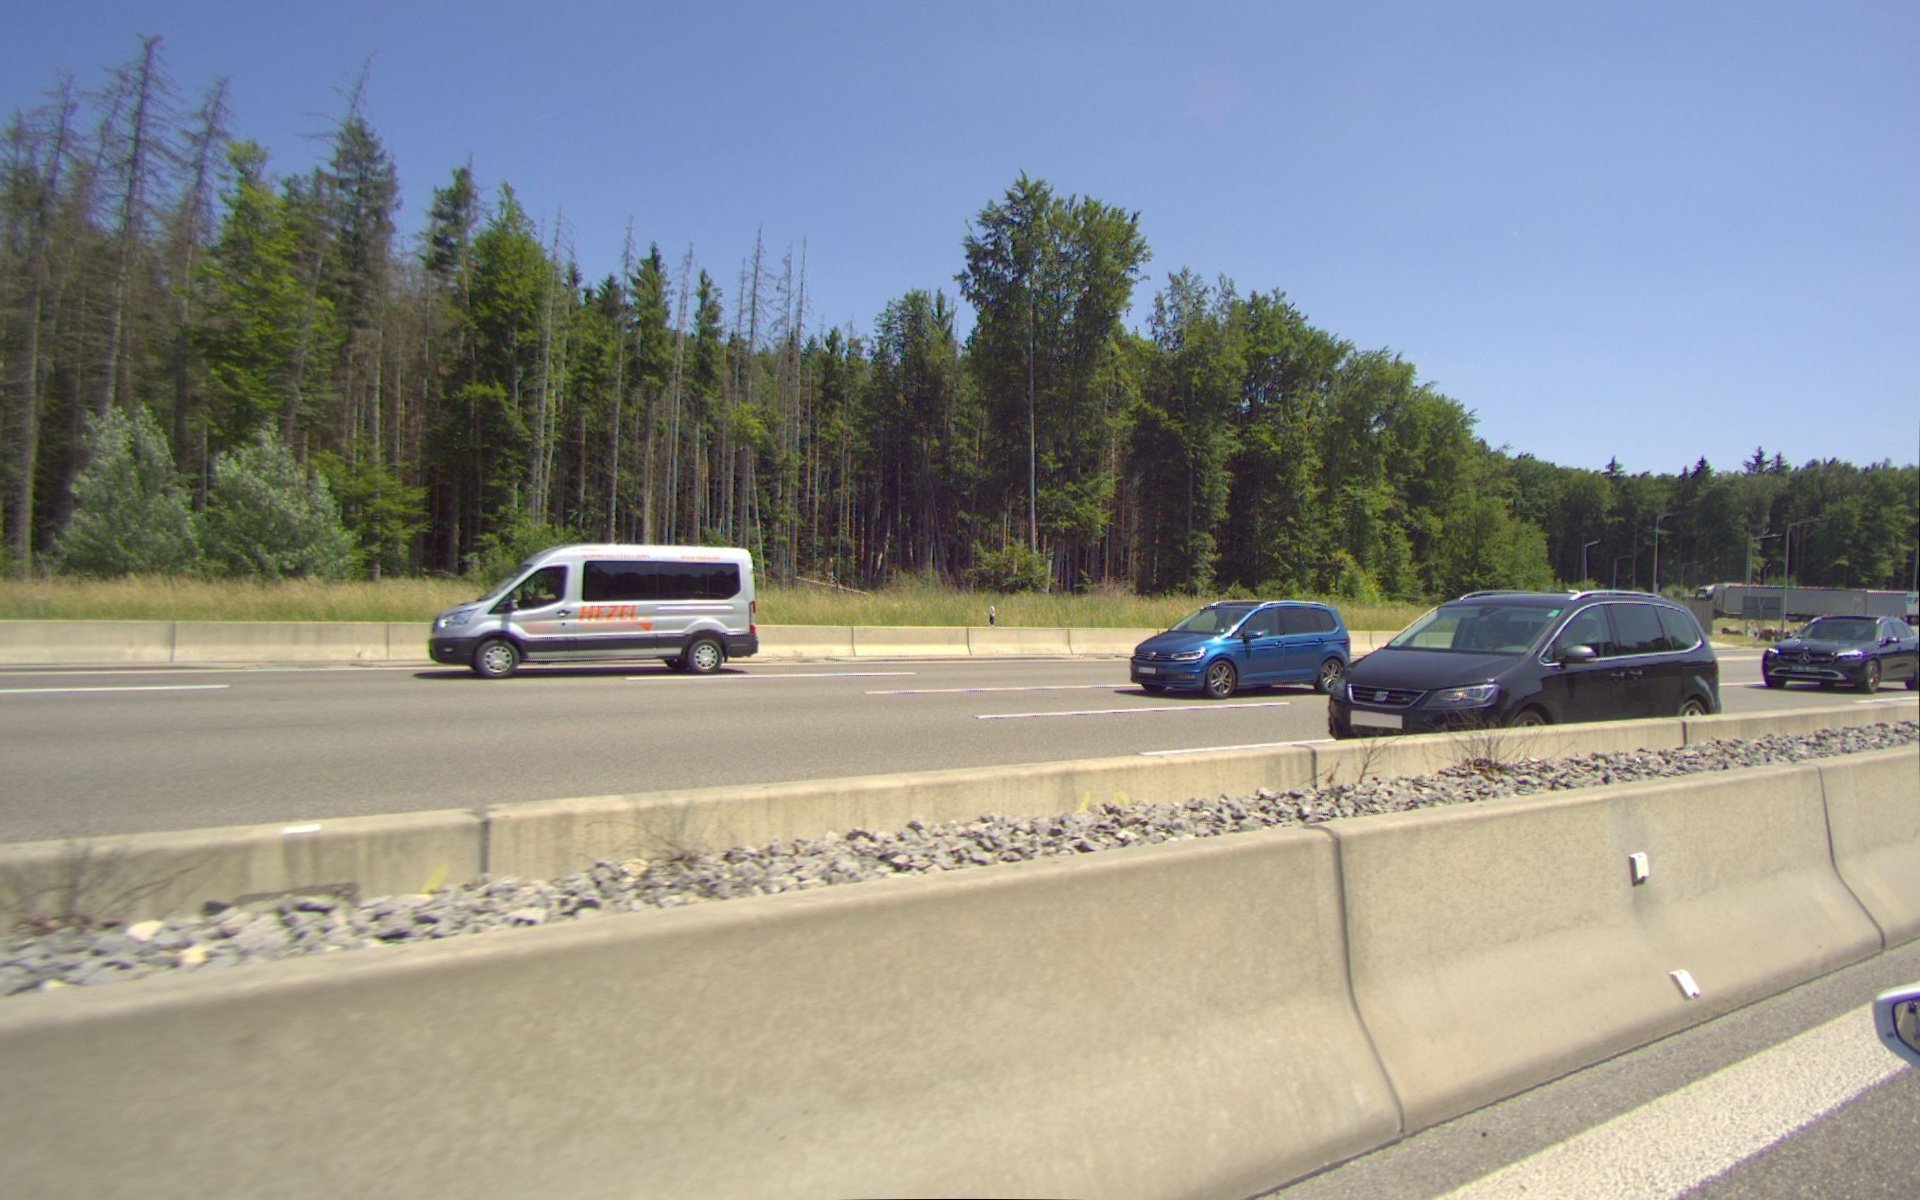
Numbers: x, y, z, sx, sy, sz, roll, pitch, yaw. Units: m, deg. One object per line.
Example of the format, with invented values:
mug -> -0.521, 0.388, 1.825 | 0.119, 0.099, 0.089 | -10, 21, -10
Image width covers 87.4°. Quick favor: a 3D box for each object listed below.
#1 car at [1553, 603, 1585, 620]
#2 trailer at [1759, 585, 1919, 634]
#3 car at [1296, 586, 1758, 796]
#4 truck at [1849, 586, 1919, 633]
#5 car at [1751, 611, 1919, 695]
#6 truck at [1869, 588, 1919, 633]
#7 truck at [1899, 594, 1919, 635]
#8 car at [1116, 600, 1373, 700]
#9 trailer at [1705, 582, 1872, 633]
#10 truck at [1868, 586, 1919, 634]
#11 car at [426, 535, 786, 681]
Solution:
car -> 81.021, 1.521, 133.677 | 1.960, 2.040, 4.001 | 2, 0, 3
trailer -> 102.222, 1.080, 116.897 | 14.272, 5.140, 3.225 | 2, 1, 14
car -> 5.870, 0.783, 10.209 | 4.986, 1.700, 1.840 | 1, 0, -31
truck -> 120.021, 1.321, 126.753 | 11.304, 5.688, 3.230 | 2, 1, 14
car -> 20.267, 1.165, 22.923 | 4.945, 1.721, 1.819 | 1, 0, -31
truck -> 124.872, 1.463, 129.235 | 11.304, 5.688, 3.230 | 2, 1, 14
truck -> 141.424, 2.211, 139.437 | 16.373, 5.688, 3.452 | 2, 1, 14
car -> 5.142, 0.844, 17.960 | 4.618, 1.591, 1.721 | 1, 0, -31
trailer -> 92.184, 0.785, 112.057 | 14.272, 5.140, 3.131 | 2, 1, 14
truck -> 117.941, 1.268, 123.733 | 8.316, 5.688, 3.230 | 2, 1, 14
car -> -6.670, 0.190, 19.370 | 6.275, 2.445, 1.937 | 1, 0, -32
